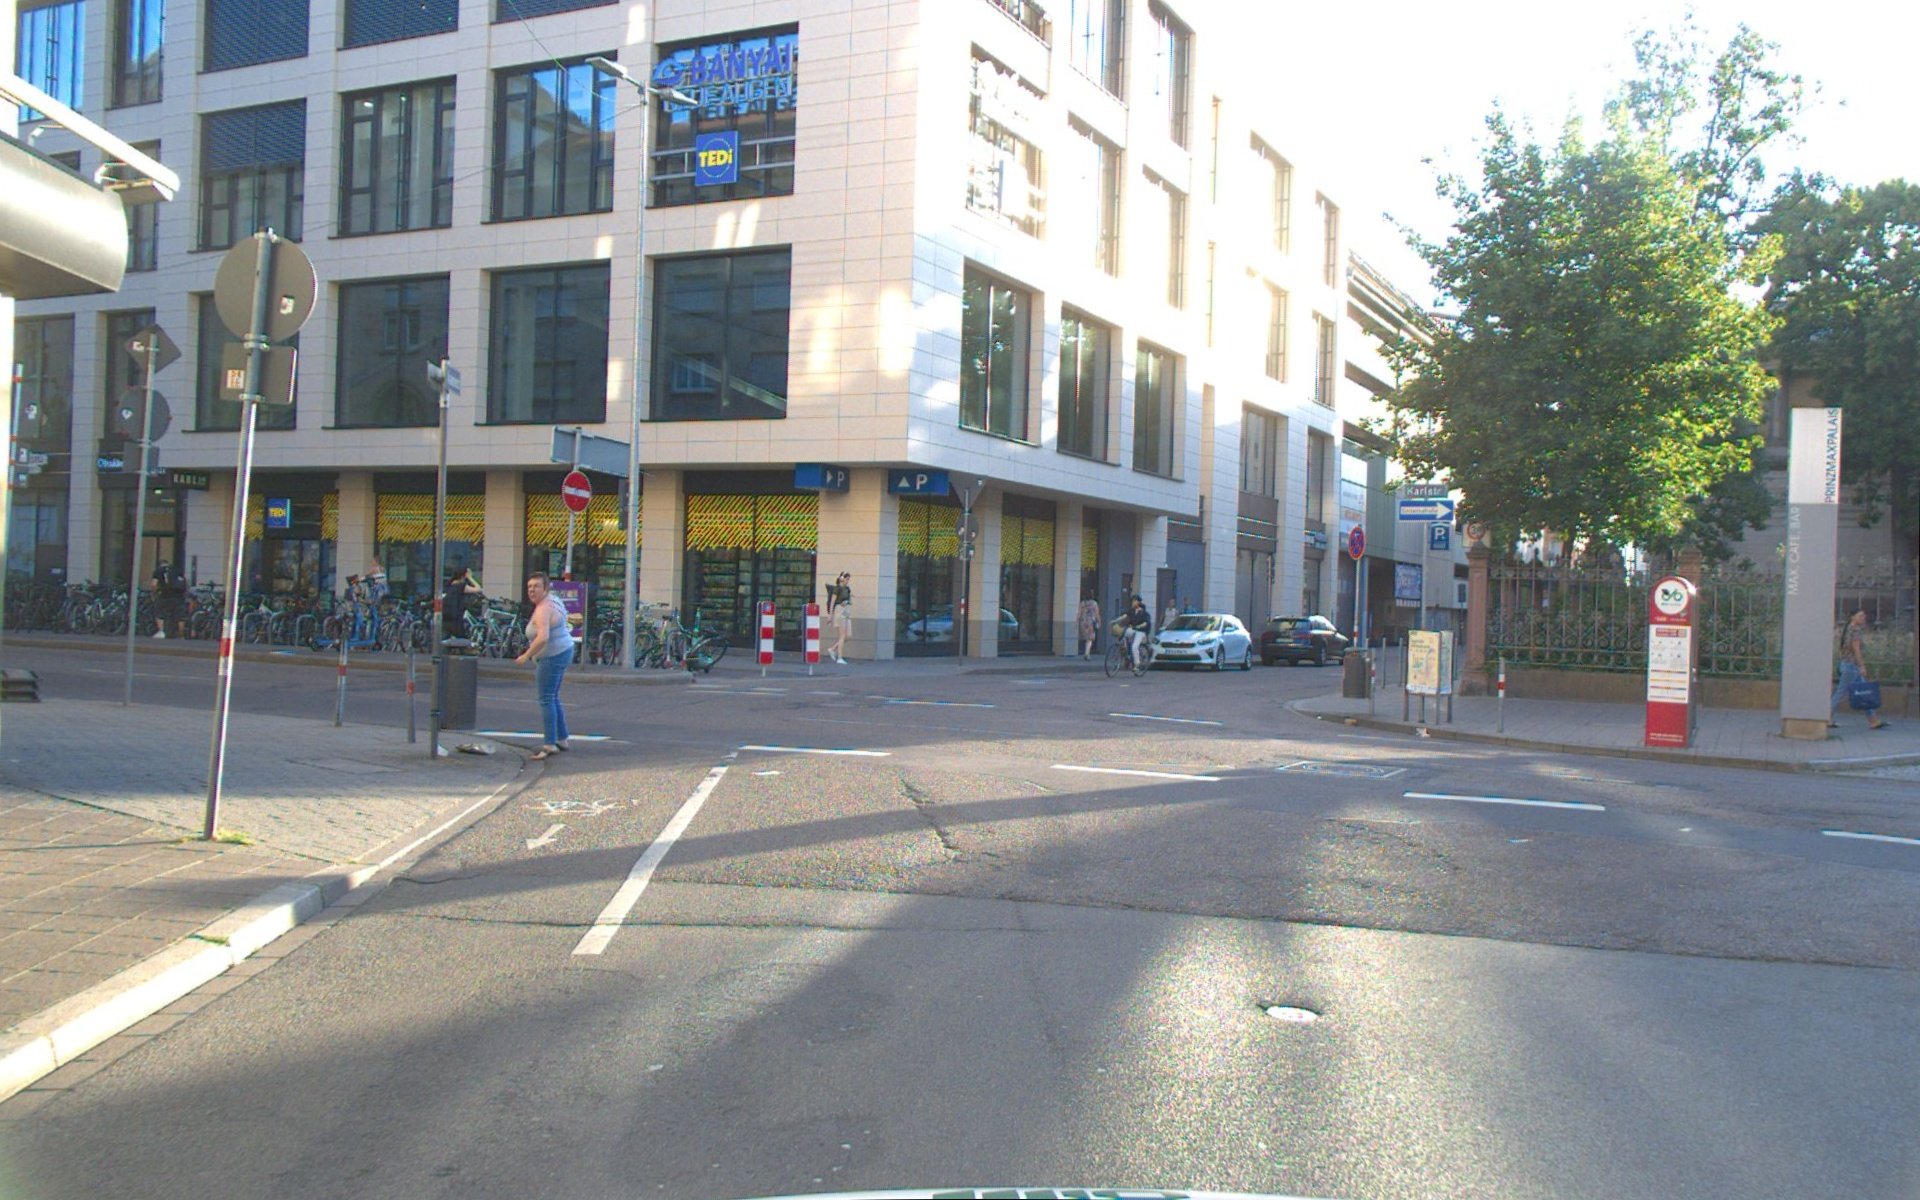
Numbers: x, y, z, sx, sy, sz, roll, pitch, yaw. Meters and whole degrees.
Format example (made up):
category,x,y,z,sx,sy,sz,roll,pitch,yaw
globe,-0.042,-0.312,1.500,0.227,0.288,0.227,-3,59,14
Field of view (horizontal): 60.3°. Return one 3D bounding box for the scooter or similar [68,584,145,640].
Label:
category,x,y,z,sx,sy,sz,roll,pitch,yaw
scooter or similar,-15.832,0.229,30.699,0.379,1.009,1.270,2,-1,25

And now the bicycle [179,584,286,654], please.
category,x,y,z,sx,sy,sz,roll,pitch,yaw
bicycle,-13.911,0.381,31.677,0.501,1.277,1.977,2,-1,25

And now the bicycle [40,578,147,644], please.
category,x,y,z,sx,sy,sz,roll,pitch,yaw
bicycle,-17.632,0.240,33.695,0.501,1.277,1.977,2,-1,25

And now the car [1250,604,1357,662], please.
category,x,y,z,sx,sy,sz,roll,pitch,yaw
car,10.460,0.993,50.050,1.848,1.626,4.681,2,0,29

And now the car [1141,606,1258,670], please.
category,x,y,z,sx,sy,sz,roll,pitch,yaw
car,6.125,0.944,41.950,1.742,1.478,4.227,2,0,25

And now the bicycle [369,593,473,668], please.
category,x,y,z,sx,sy,sz,roll,pitch,yaw
bicycle,-9.588,0.546,29.504,0.501,1.277,1.977,2,-1,25

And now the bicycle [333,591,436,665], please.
category,x,y,z,sx,sy,sz,roll,pitch,yaw
bicycle,-10.346,0.516,29.814,0.501,1.277,1.978,2,-1,24

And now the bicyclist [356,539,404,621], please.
category,x,y,z,sx,sy,sz,roll,pitch,yaw
bicyclist,-12.506,-0.422,35.657,0.630,1.725,0.683,2,0,27

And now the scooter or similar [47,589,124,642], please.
category,x,y,z,sx,sy,sz,roll,pitch,yaw
scooter or similar,-16.404,0.293,31.042,0.379,0.958,1.270,2,-1,25

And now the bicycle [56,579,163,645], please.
category,x,y,z,sx,sy,sz,roll,pitch,yaw
bicycle,-17.074,0.260,33.245,0.501,1.277,1.977,2,-1,25

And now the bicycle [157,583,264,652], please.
category,x,y,z,sx,sy,sz,roll,pitch,yaw
bicycle,-14.445,0.360,31.921,0.501,1.277,1.977,2,-1,25

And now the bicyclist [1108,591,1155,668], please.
category,x,y,z,sx,sy,sz,roll,pitch,yaw
bicyclist,3.647,0.632,35.110,0.646,1.598,0.861,2,-1,31

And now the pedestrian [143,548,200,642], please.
category,x,y,z,sx,sy,sz,roll,pitch,yaw
pedestrian,-14.708,-0.097,30.862,0.630,1.725,0.683,2,0,30

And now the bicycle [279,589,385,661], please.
category,x,y,z,sx,sy,sz,roll,pitch,yaw
bicycle,-11.555,0.471,30.491,0.501,1.277,1.977,2,-1,25

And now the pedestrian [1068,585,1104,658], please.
category,x,y,z,sx,sy,sz,roll,pitch,yaw
pedestrian,3.115,0.535,40.867,0.659,1.775,0.646,2,-1,27

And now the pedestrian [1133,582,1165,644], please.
category,x,y,z,sx,sy,sz,roll,pitch,yaw
pedestrian,5.326,0.368,46.635,0.658,1.704,0.647,2,0,25

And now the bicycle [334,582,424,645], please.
category,x,y,z,sx,sy,sz,roll,pitch,yaw
bicycle,-12.523,0.294,35.655,1.934,1.277,0.612,2,-1,27

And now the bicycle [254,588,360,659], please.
category,x,y,z,sx,sy,sz,roll,pitch,yaw
bicycle,-12.105,0.449,30.717,0.501,1.277,1.977,2,-1,25

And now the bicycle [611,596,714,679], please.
category,x,y,z,sx,sy,sz,roll,pitch,yaw
bicycle,-4.827,0.609,26.980,0.569,1.277,2.043,2,-1,23

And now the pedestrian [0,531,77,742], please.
category,x,y,z,sx,sy,sz,roll,pitch,yaw
pedestrian,-7.751,0.280,13.348,0.717,1.641,0.805,2,-1,7

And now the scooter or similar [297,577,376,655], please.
category,x,y,z,sx,sy,sz,roll,pitch,yaw
scooter or similar,-10.217,0.269,27.139,0.379,1.233,1.270,2,-1,25

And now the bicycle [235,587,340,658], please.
category,x,y,z,sx,sy,sz,roll,pitch,yaw
bicycle,-12.631,0.430,31.124,0.501,1.277,1.977,2,-1,25

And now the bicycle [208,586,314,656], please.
category,x,y,z,sx,sy,sz,roll,pitch,yaw
bicycle,-13.237,0.407,31.403,0.501,1.277,1.977,2,-1,25

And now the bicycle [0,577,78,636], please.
category,x,y,z,sx,sy,sz,roll,pitch,yaw
bicycle,-21.099,0.140,37.848,1.933,1.277,0.513,2,-1,25

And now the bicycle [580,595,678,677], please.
category,x,y,z,sx,sy,sz,roll,pitch,yaw
bicycle,-5.413,0.594,27.200,0.501,1.277,1.978,2,-1,23

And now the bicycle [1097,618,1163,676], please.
category,x,y,z,sx,sy,sz,roll,pitch,yaw
bicycle,3.622,0.998,35.078,0.652,1.158,1.818,2,-1,31

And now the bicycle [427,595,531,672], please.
category,x,y,z,sx,sy,sz,roll,pitch,yaw
bicycle,-8.342,0.592,28.756,0.501,1.277,1.977,2,-1,25

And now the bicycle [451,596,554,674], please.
category,x,y,z,sx,sy,sz,roll,pitch,yaw
bicycle,-7.856,0.610,28.478,0.501,1.277,1.977,2,-1,25

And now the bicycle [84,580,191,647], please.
category,x,y,z,sx,sy,sz,roll,pitch,yaw
bicycle,-16.382,0.287,33.001,0.501,1.277,1.977,2,-1,25

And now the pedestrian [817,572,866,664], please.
category,x,y,z,sx,sy,sz,roll,pitch,yaw
pedestrian,-2.311,0.347,32.173,0.628,1.753,0.837,2,0,-28

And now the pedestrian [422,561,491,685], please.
category,x,y,z,sx,sy,sz,roll,pitch,yaw
pedestrian,-7.041,0.316,23.157,0.855,1.687,0.616,2,-1,-17

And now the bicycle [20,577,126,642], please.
category,x,y,z,sx,sy,sz,roll,pitch,yaw
bicycle,-18.312,0.216,34.211,0.501,1.277,1.977,2,-1,25

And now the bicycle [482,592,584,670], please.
category,x,y,z,sx,sy,sz,roll,pitch,yaw
bicycle,-7.267,0.539,28.234,0.501,1.277,1.977,2,-1,24

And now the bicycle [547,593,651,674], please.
category,x,y,z,sx,sy,sz,roll,pitch,yaw
bicycle,-5.968,0.569,27.452,0.502,1.277,1.976,2,-1,27

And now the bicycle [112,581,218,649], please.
category,x,y,z,sx,sy,sz,roll,pitch,yaw
bicycle,-15.660,0.315,32.633,0.501,1.277,1.977,2,-1,25

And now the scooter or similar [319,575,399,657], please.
category,x,y,z,sx,sy,sz,roll,pitch,yaw
scooter or similar,-9.733,0.267,26.824,0.379,1.282,1.270,2,-1,25

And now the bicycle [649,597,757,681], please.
category,x,y,z,sx,sy,sz,roll,pitch,yaw
bicycle,-4.127,0.634,26.706,0.650,1.277,2.140,2,-1,23

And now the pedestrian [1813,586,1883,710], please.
category,x,y,z,sx,sy,sz,roll,pitch,yaw
pedestrian,12.649,0.670,23.579,0.688,1.699,0.643,2,1,13

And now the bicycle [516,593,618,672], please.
category,x,y,z,sx,sy,sz,roll,pitch,yaw
bicycle,-6.591,0.555,27.864,0.501,1.277,1.977,2,-1,25

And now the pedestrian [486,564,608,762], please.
category,x,y,z,sx,sy,sz,roll,pitch,yaw
pedestrian,-3.562,0.530,14.254,0.795,1.641,0.726,2,-1,-33

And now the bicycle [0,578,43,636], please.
category,x,y,z,sx,sy,sz,roll,pitch,yaw
bicycle,-21.595,0.138,37.306,1.933,1.277,0.513,2,-1,25

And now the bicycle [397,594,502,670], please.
category,x,y,z,sx,sy,sz,roll,pitch,yaw
bicycle,-8.956,0.569,29.096,0.501,1.277,1.977,2,-1,25

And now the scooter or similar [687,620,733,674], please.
category,x,y,z,sx,sy,sz,roll,pitch,yaw
scooter or similar,-4.268,0.808,28.304,0.379,0.899,0.769,2,-1,25

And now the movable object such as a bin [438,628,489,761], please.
category,x,y,z,sx,sy,sz,roll,pitch,yaw
movable object such as a bin,-4.139,0.781,13.796,0.353,1.082,0.355,2,-1,-14

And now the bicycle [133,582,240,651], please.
category,x,y,z,sx,sy,sz,roll,pitch,yaw
bicycle,-15.016,0.338,32.159,0.501,1.277,1.977,2,-1,25

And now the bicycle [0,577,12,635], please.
category,x,y,z,sx,sy,sz,roll,pitch,yaw
bicycle,-21.920,0.102,36.631,1.933,1.277,0.513,2,-1,25

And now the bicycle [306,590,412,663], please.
category,x,y,z,sx,sy,sz,roll,pitch,yaw
bicycle,-10.903,0.495,30.080,0.501,1.277,1.977,2,-1,25

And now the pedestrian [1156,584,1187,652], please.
category,x,y,z,sx,sy,sz,roll,pitch,yaw
pedestrian,5.926,0.505,46.341,0.658,1.868,0.647,2,0,25
